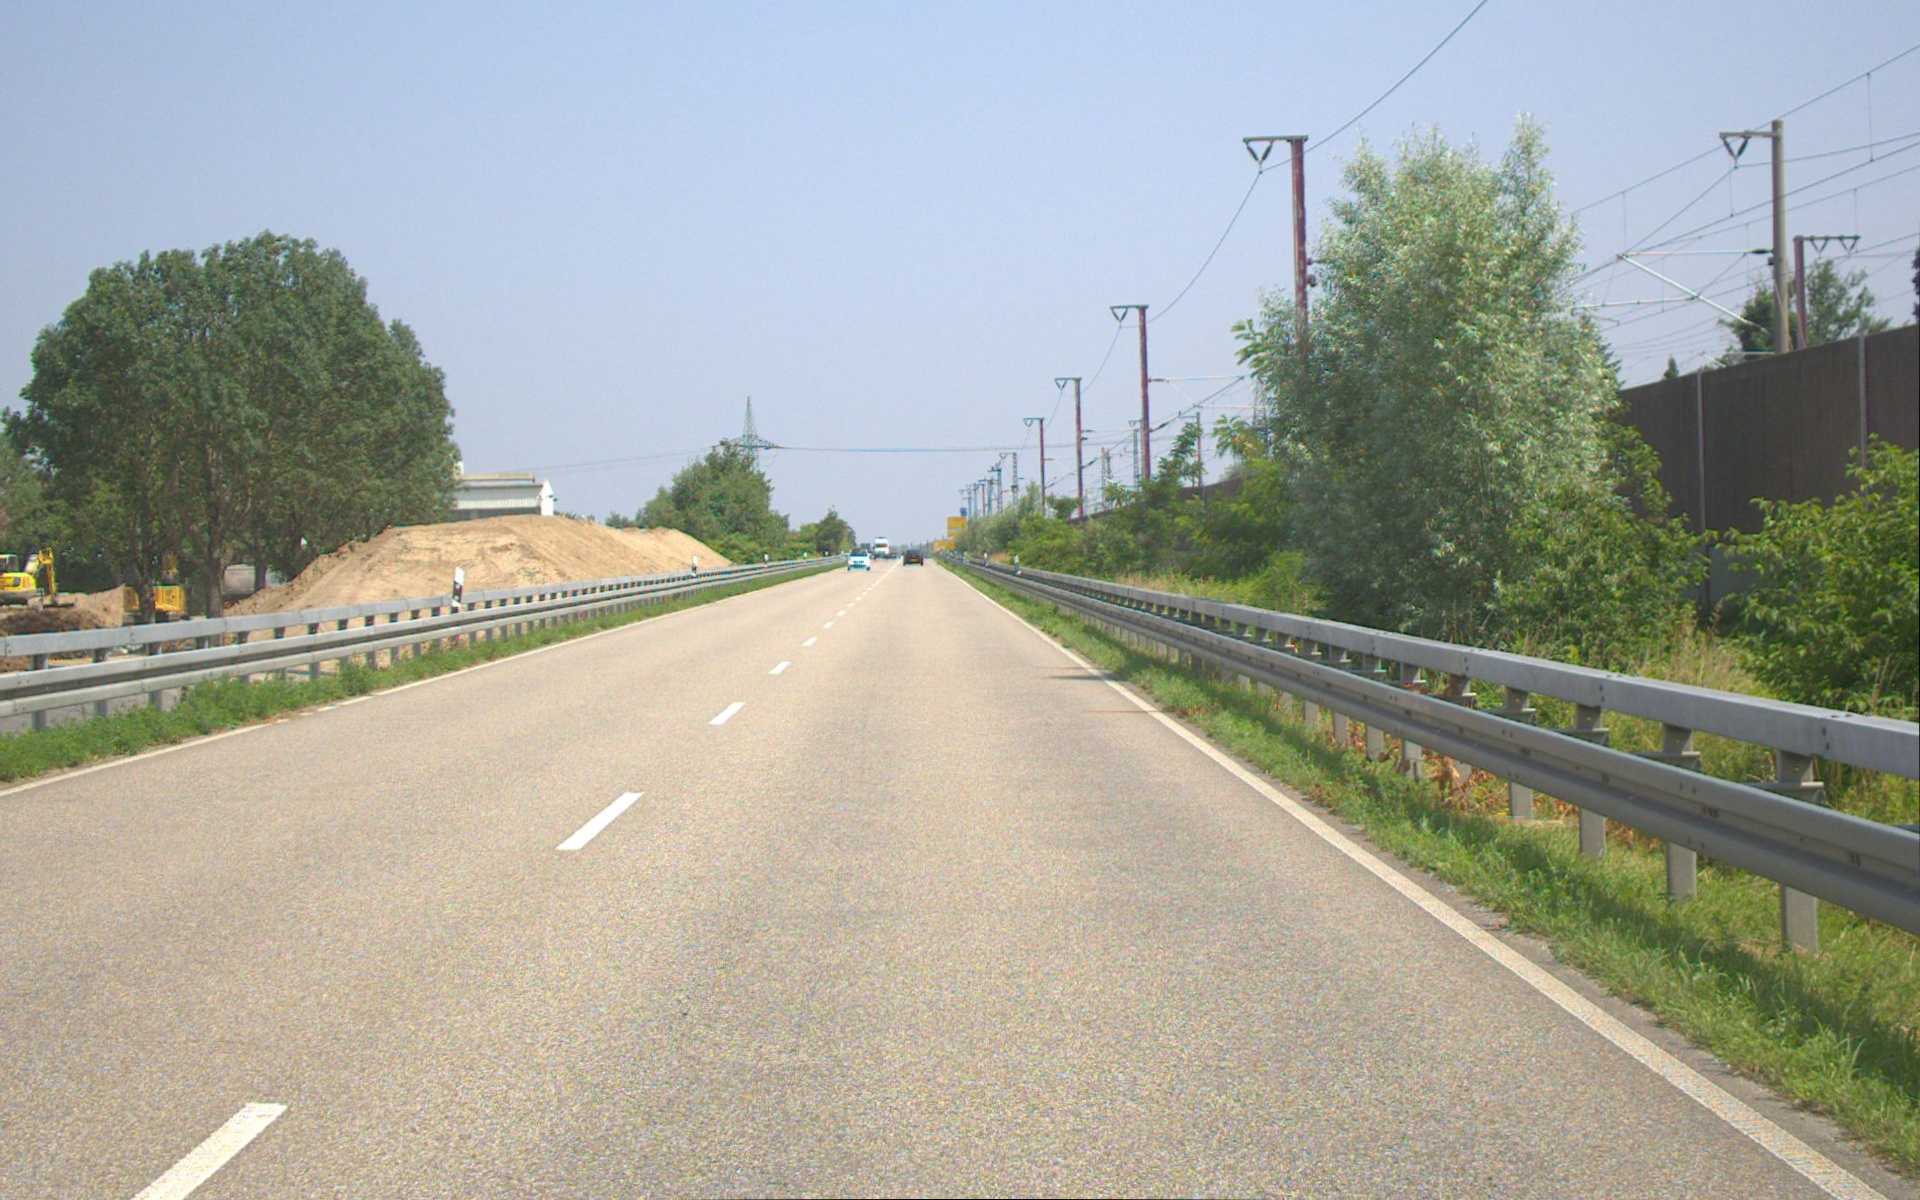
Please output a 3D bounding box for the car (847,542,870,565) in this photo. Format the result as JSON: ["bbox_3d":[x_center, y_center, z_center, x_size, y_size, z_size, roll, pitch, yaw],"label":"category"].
[{"bbox_3d":[-7.136,-3.291,241.348,1.595,1.571,3.828,0,1,-1],"label":"car"}]

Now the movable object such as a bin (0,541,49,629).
[{"bbox_3d":[-41.422,-0.631,150.055,2.620,3.640,5.462,-3,1,-19],"label":"movable object such as a bin"}]
